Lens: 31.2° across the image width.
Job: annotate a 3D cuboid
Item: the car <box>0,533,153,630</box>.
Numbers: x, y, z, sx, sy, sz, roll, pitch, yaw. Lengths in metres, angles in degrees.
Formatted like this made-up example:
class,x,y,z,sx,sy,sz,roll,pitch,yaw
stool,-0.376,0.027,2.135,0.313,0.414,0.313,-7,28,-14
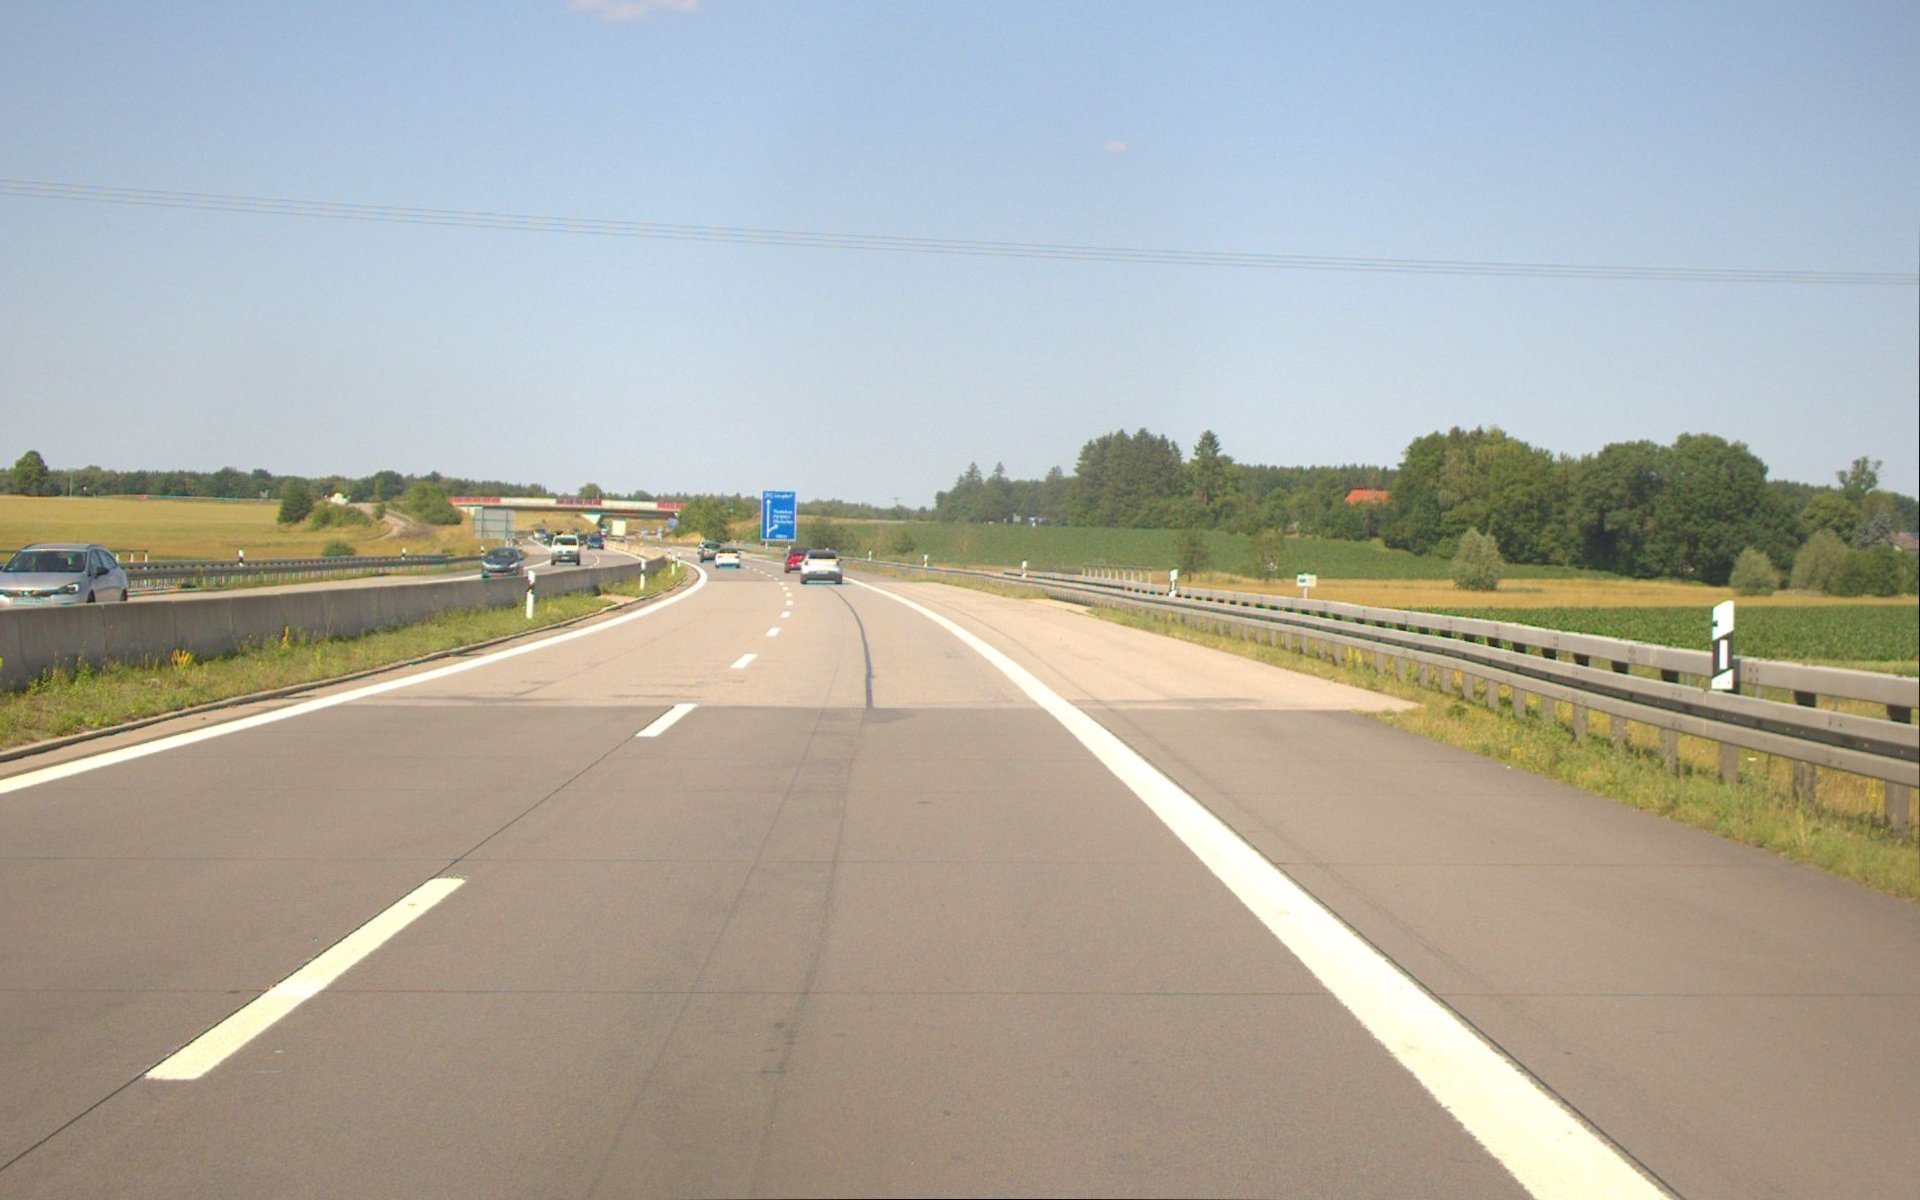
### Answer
class,x,y,z,sx,sy,sz,roll,pitch,yaw
car,-15.798,-0.344,60.689,1.993,1.573,4.897,2,0,-1

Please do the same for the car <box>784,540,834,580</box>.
class,x,y,z,sx,sy,sz,roll,pitch,yaw
car,-6.879,-1.844,156.334,1.993,1.725,4.870,1,1,-5

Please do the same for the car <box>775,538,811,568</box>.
class,x,y,z,sx,sy,sz,roll,pitch,yaw
car,-10.063,-2.826,207.385,1.993,1.725,4.870,1,1,-4

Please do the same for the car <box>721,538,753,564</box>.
class,x,y,z,sx,sy,sz,roll,pitch,yaw
car,-15.542,-3.394,239.496,1.993,1.725,4.870,1,1,-2

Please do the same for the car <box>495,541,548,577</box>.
class,x,y,z,sx,sy,sz,roll,pitch,yaw
car,-19.401,-1.833,152.342,1.859,1.509,4.586,3,1,-2

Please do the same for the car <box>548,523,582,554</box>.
class,x,y,z,sx,sy,sz,roll,pitch,yaw
car,-26.590,-4.101,231.318,1.993,2.007,5.615,1,1,-9
